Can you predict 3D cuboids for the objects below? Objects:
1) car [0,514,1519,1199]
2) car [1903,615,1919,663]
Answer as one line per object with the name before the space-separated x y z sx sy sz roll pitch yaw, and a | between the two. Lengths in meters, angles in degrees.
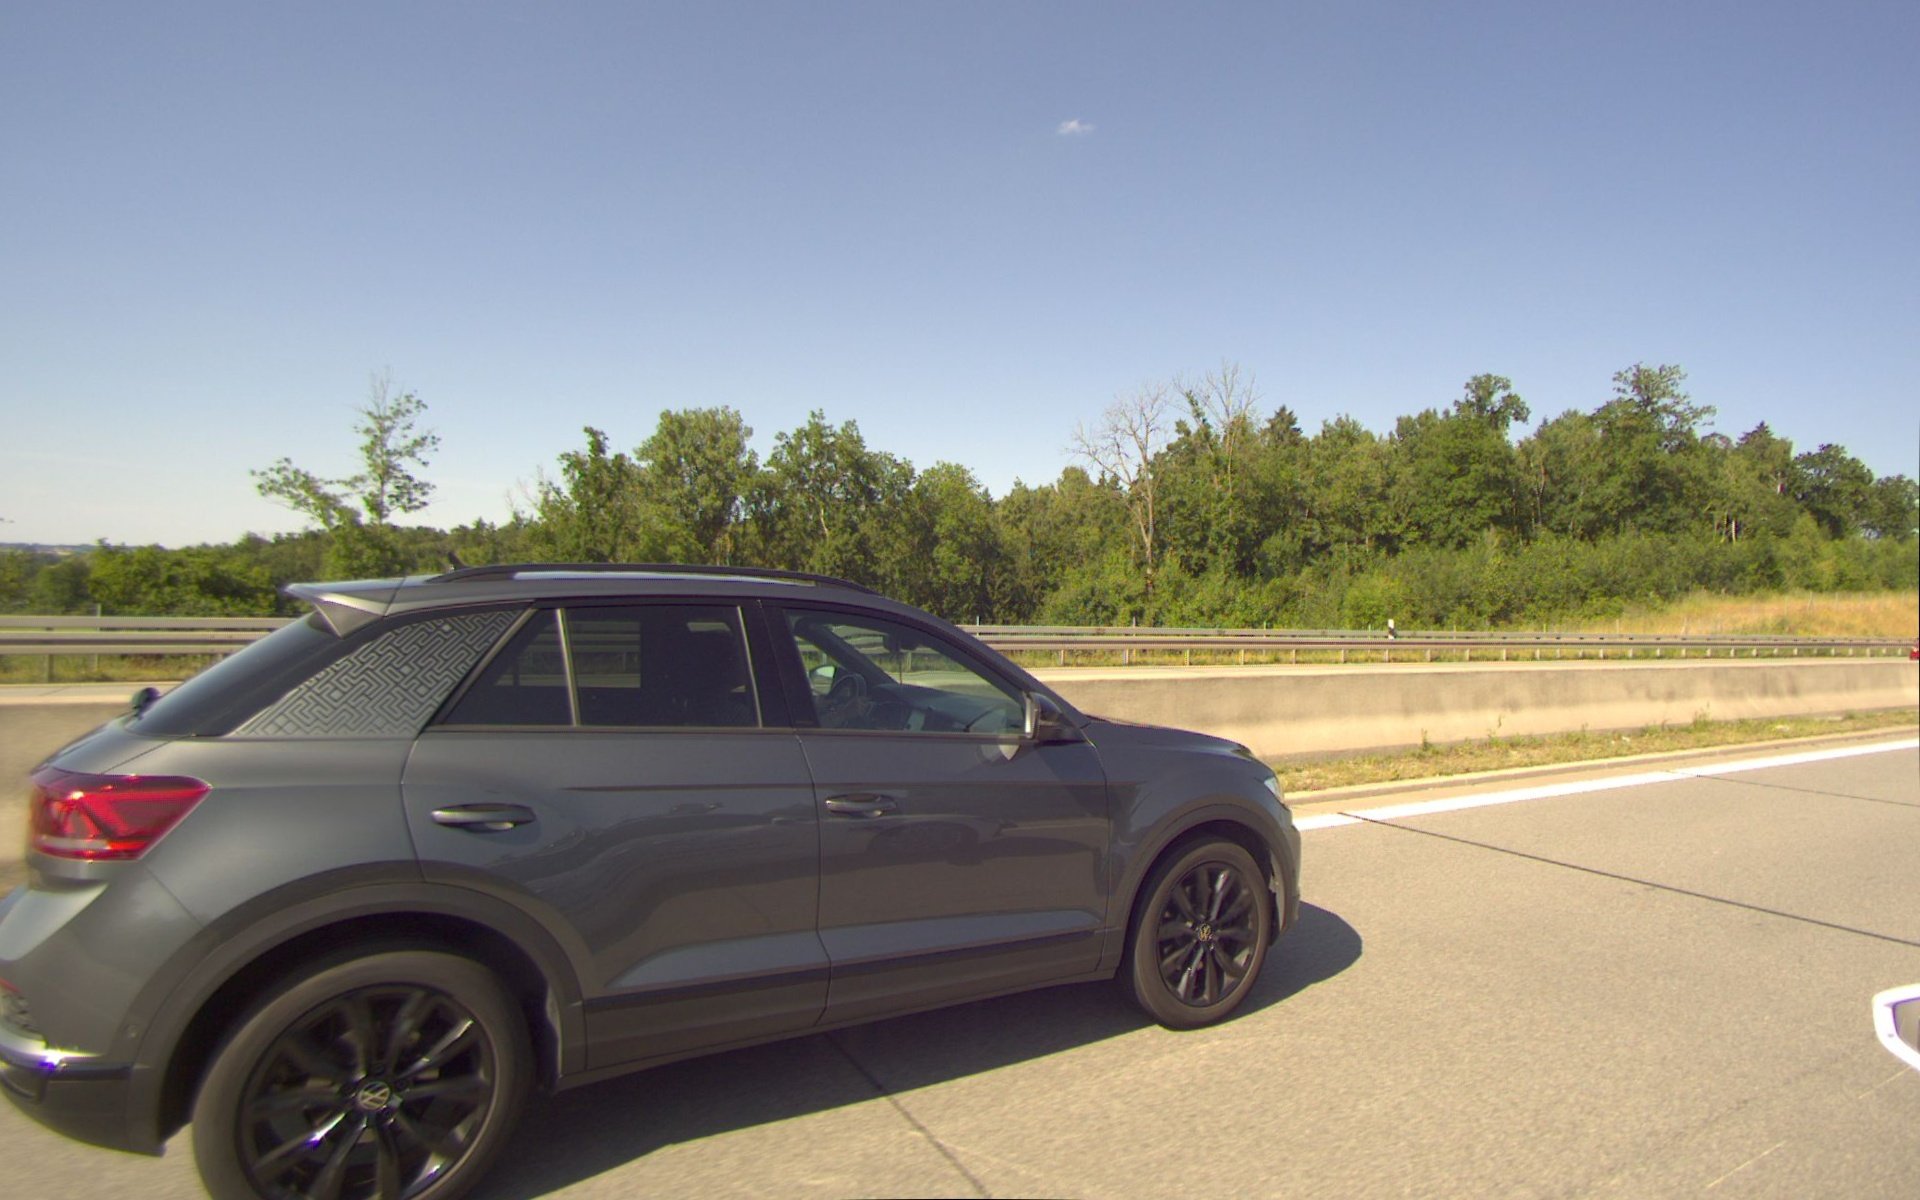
car | -0.152 0.681 3.857 4.930 1.590 1.763 1 0 -31
car | 35.552 1.412 35.681 4.831 1.666 1.659 1 0 -30
